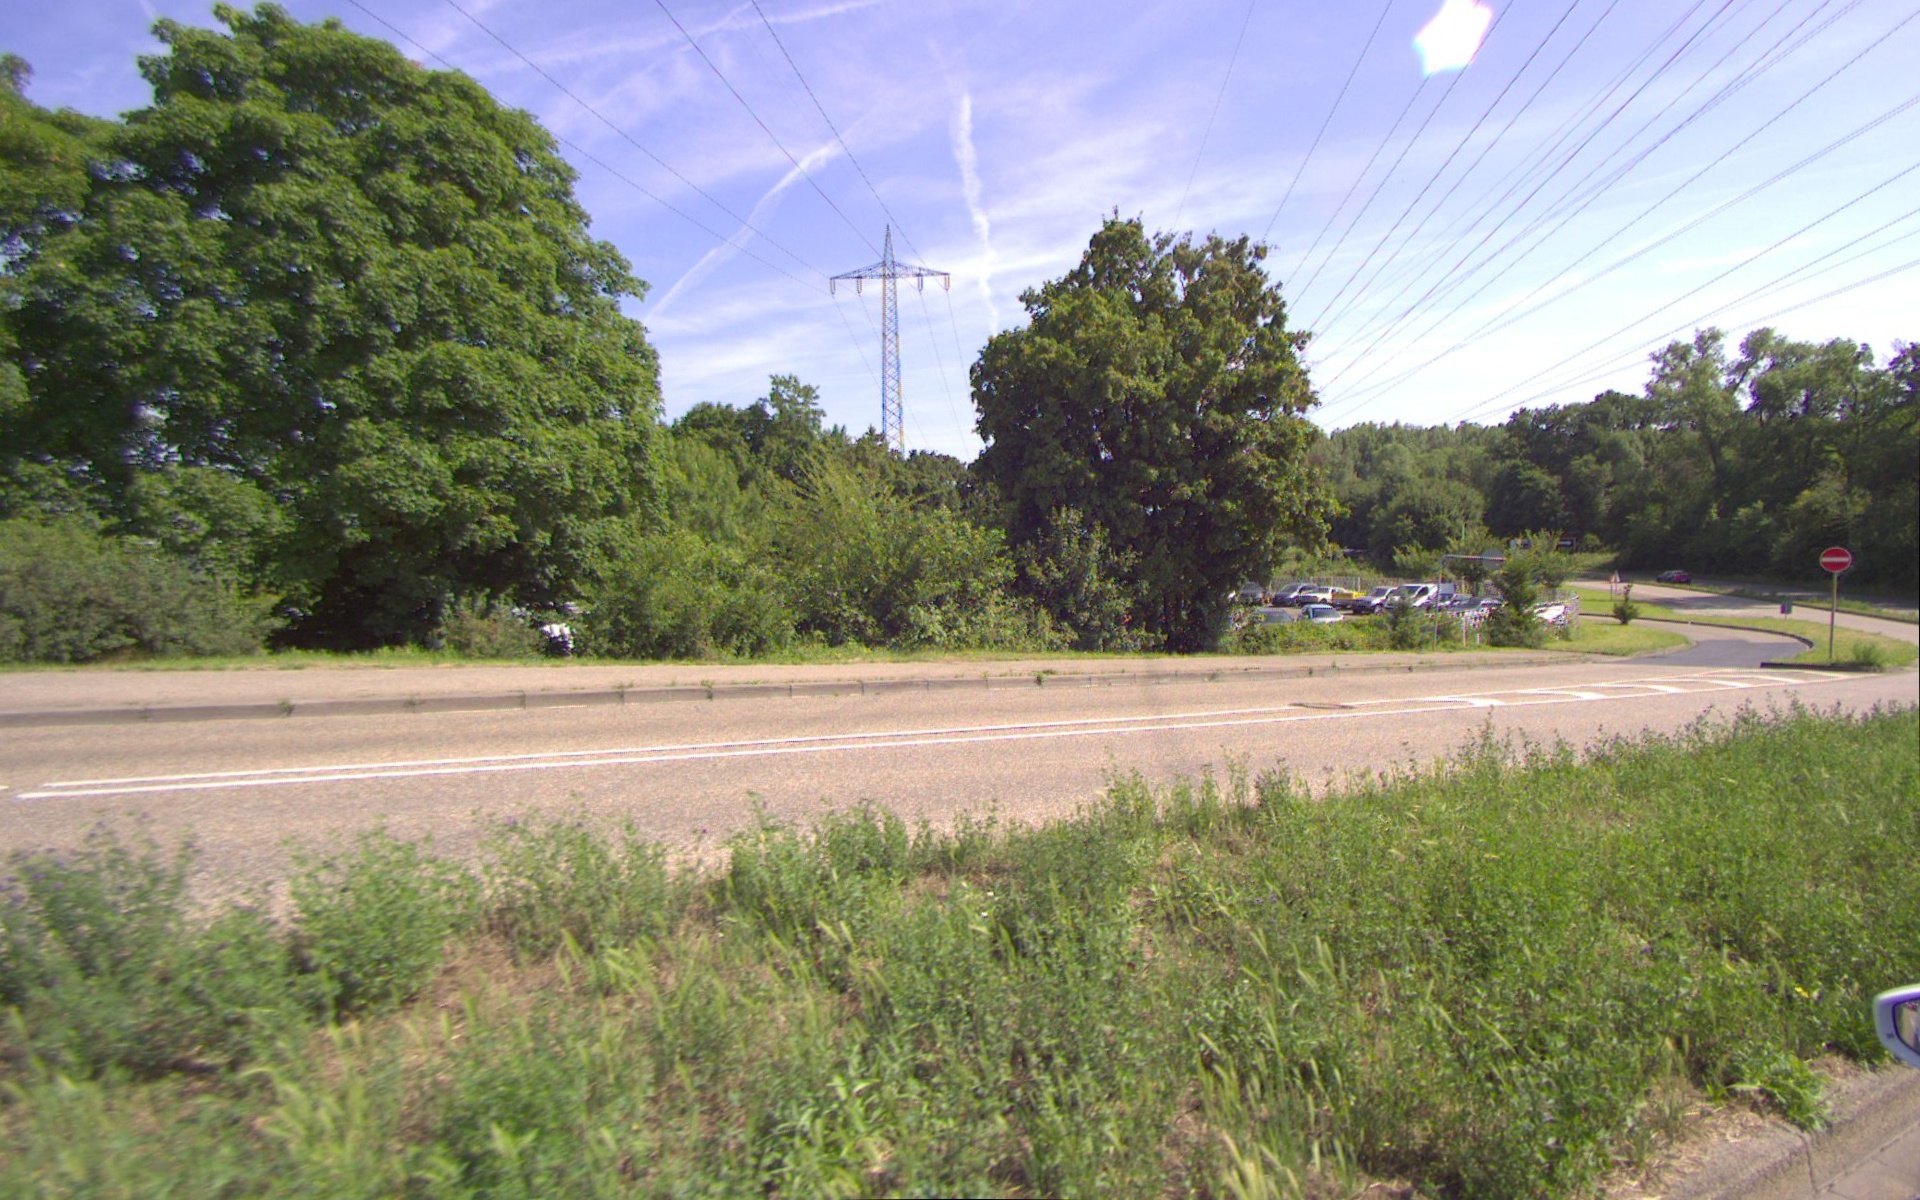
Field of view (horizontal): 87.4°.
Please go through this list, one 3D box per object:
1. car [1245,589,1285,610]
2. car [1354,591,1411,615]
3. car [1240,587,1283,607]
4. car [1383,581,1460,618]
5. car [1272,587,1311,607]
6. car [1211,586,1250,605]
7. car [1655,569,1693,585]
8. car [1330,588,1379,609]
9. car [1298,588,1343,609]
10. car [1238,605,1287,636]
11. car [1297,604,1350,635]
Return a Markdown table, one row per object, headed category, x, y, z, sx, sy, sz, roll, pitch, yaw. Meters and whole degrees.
| category | x | y | z | sx | sy | sz | roll | pitch | yaw |
| --- | --- | --- | --- | --- | --- | --- | --- | --- | --- |
| car | 22.645 | -0.054 | 74.508 | 1.574 | 1.311 | 3.624 | 1 | 4 | 39 |
| car | 27.369 | 0.179 | 65.052 | 3.599 | 1.311 | 1.585 | -3 | 3 | -32 |
| car | 22.412 | -0.260 | 74.603 | 1.577 | 1.311 | 3.618 | 2 | 4 | 44 |
| car | 28.761 | -0.046 | 62.552 | 4.668 | 2.069 | 1.686 | -2 | 3 | -24 |
| car | 24.196 | -0.226 | 73.220 | 1.574 | 1.311 | 3.624 | 1 | 4 | 39 |
| car | 20.731 | -0.343 | 77.008 | 1.574 | 1.311 | 3.624 | 1 | 4 | 39 |
| car | 74.425 | -2.443 | 104.707 | 1.619 | 1.588 | 3.658 | -1 | 3 | 5 |
| car | 27.348 | -0.114 | 69.667 | 3.608 | 1.311 | 1.581 | -3 | 4 | -38 |
| car | 25.558 | -0.155 | 71.213 | 3.615 | 1.311 | 1.578 | -4 | 4 | -43 |
| car | 15.130 | 1.000 | 50.379 | 1.567 | 1.311 | 3.179 | -1 | 3 | 1 |
| car | 18.181 | 0.946 | 50.404 | 1.567 | 1.311 | 3.179 | -1 | 3 | 1 |
